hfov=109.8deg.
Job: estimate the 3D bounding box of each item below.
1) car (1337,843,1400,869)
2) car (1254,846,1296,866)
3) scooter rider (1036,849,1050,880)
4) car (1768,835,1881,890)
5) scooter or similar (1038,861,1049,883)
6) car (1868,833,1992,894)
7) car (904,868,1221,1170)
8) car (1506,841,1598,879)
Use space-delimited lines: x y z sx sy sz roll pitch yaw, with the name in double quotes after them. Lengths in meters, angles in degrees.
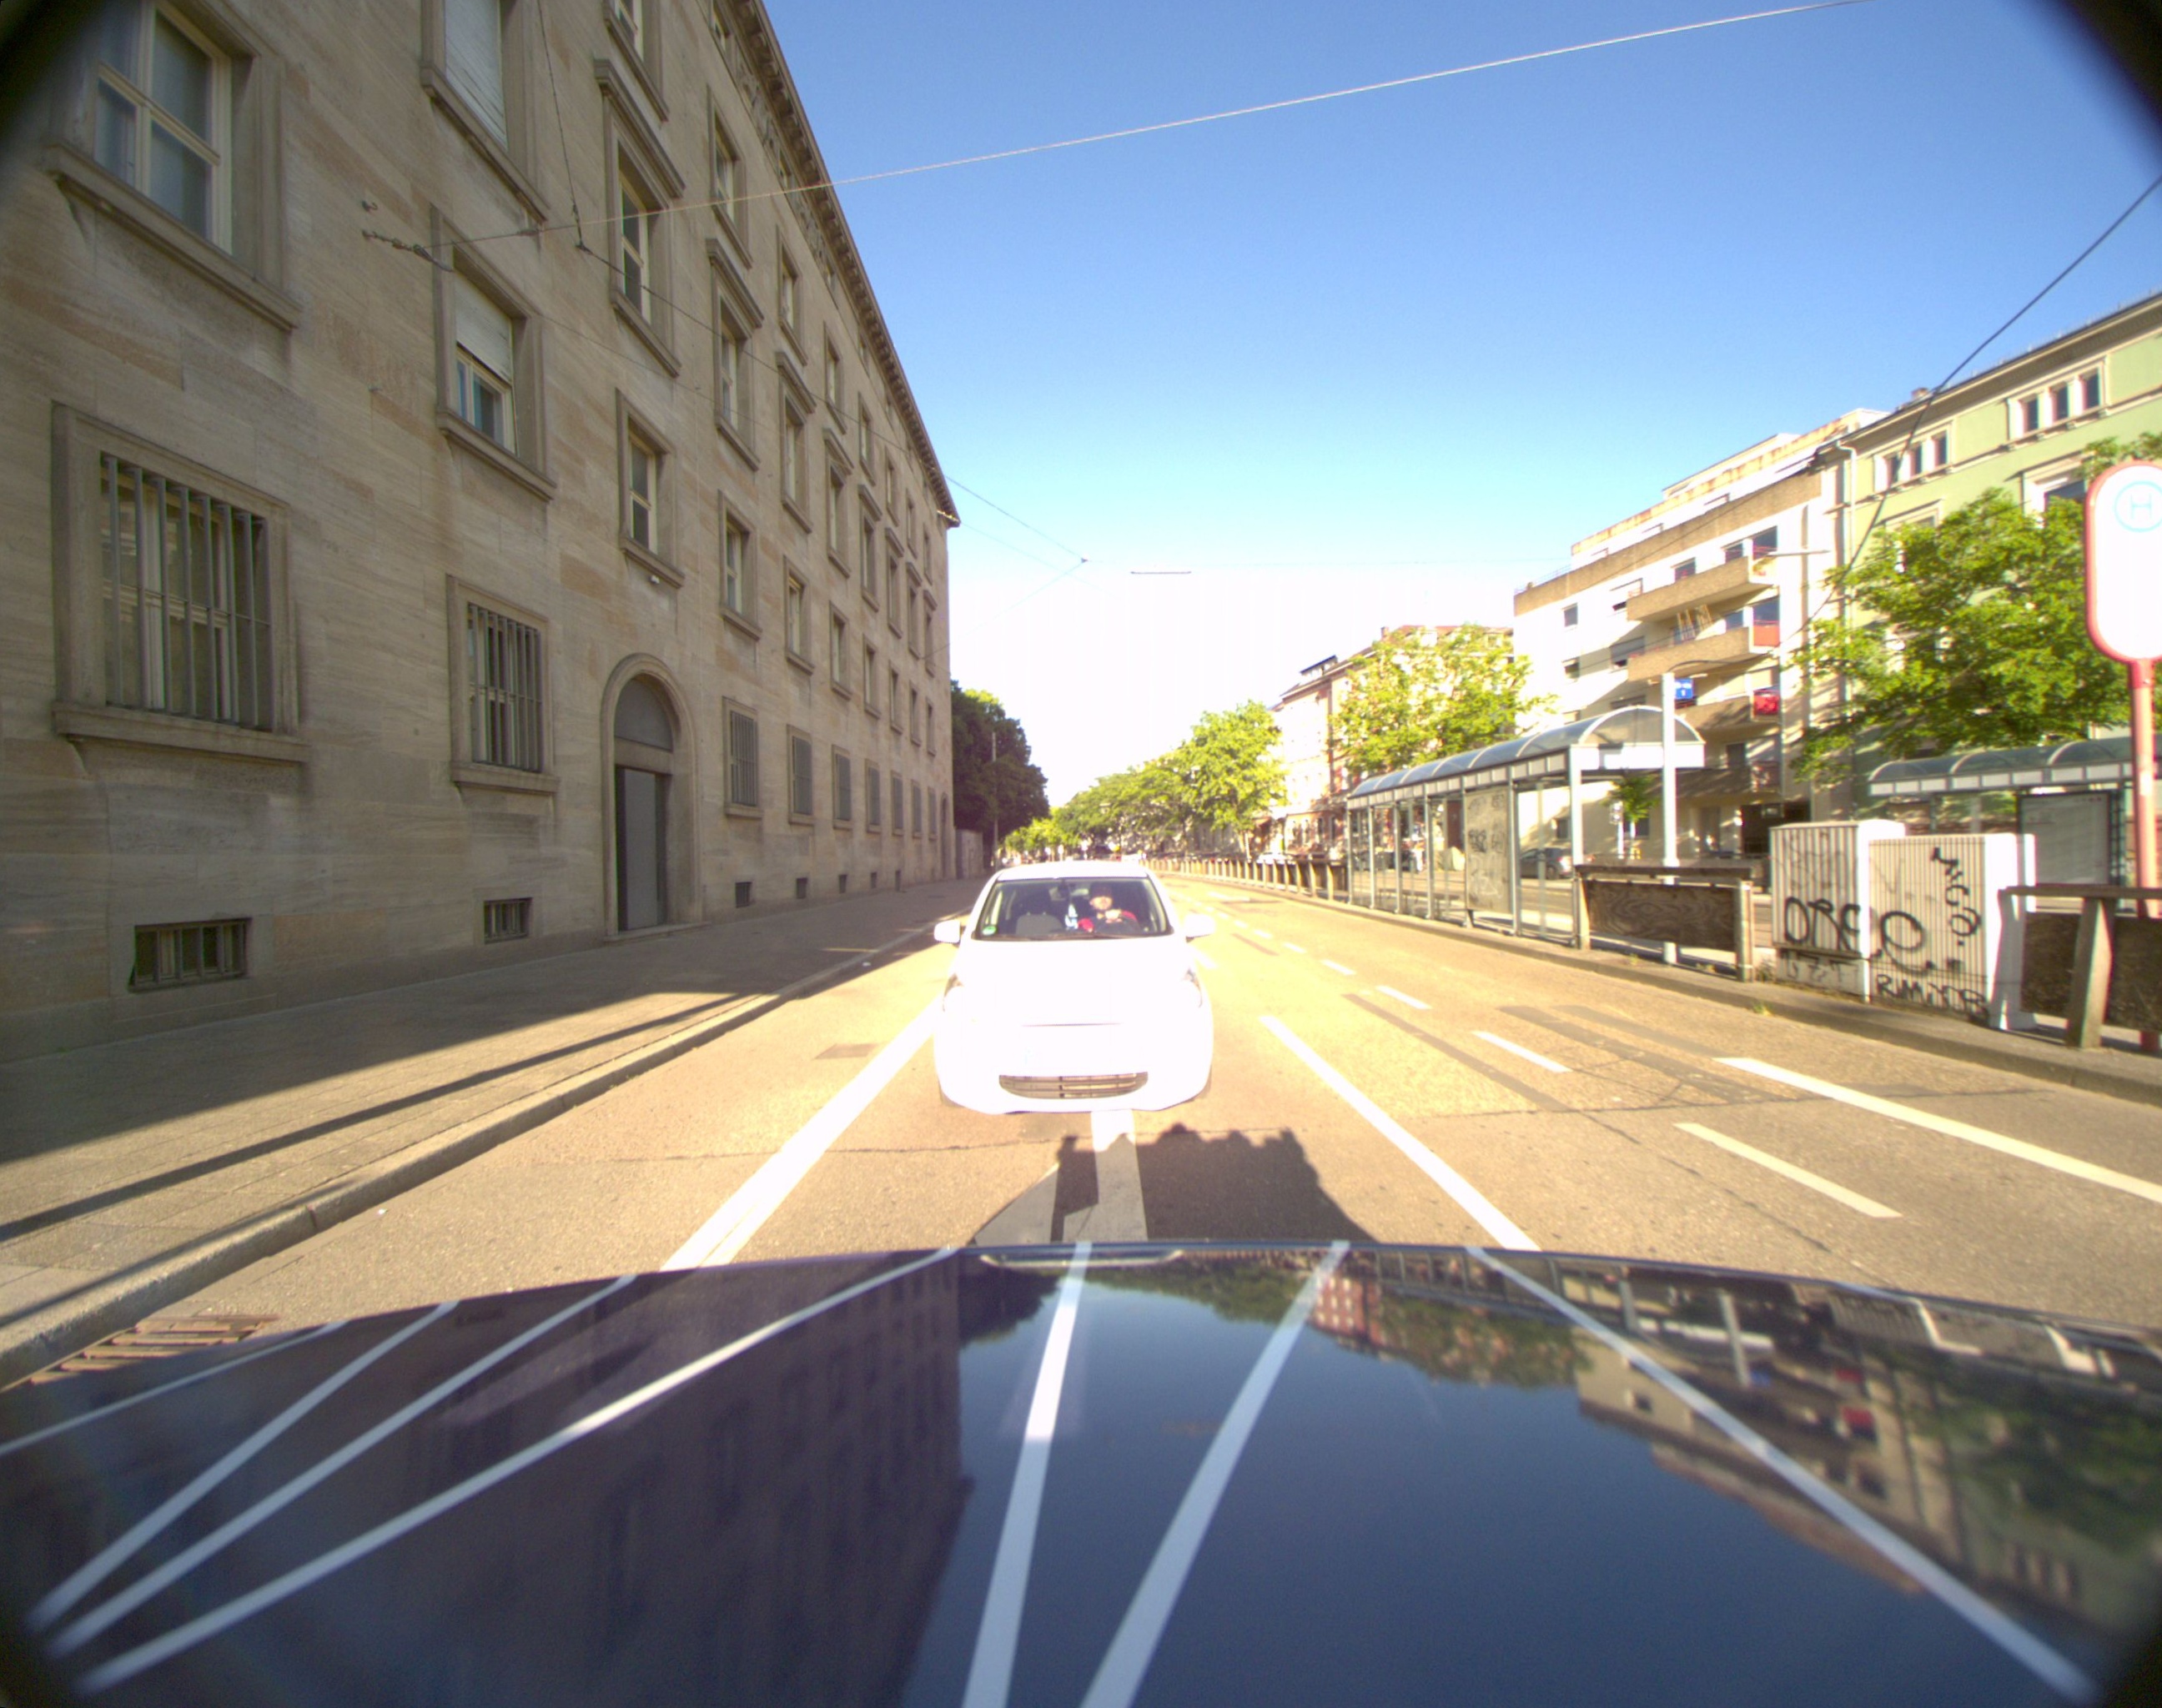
19.544 0.130 51.721 3.599 1.558 1.630 -2 1 -7 "car"
16.259 0.162 63.475 3.607 1.558 1.627 -3 1 -42 "car"
-2.043 0.556 40.928 0.731 1.661 0.556 -1 1 -1 "scooter rider"
23.885 0.228 24.401 3.605 1.558 1.627 -3 1 -29 "car"
-2.008 0.965 40.924 0.536 1.178 1.328 -1 0 0 "scooter or similar"
24.464 0.234 21.889 3.605 1.558 1.627 -3 1 -29 "car"
-0.072 0.901 5.807 1.612 1.462 3.631 -2 0 1 "car"
20.916 0.236 33.931 1.631 1.558 3.598 -2 1 -5 "car"
